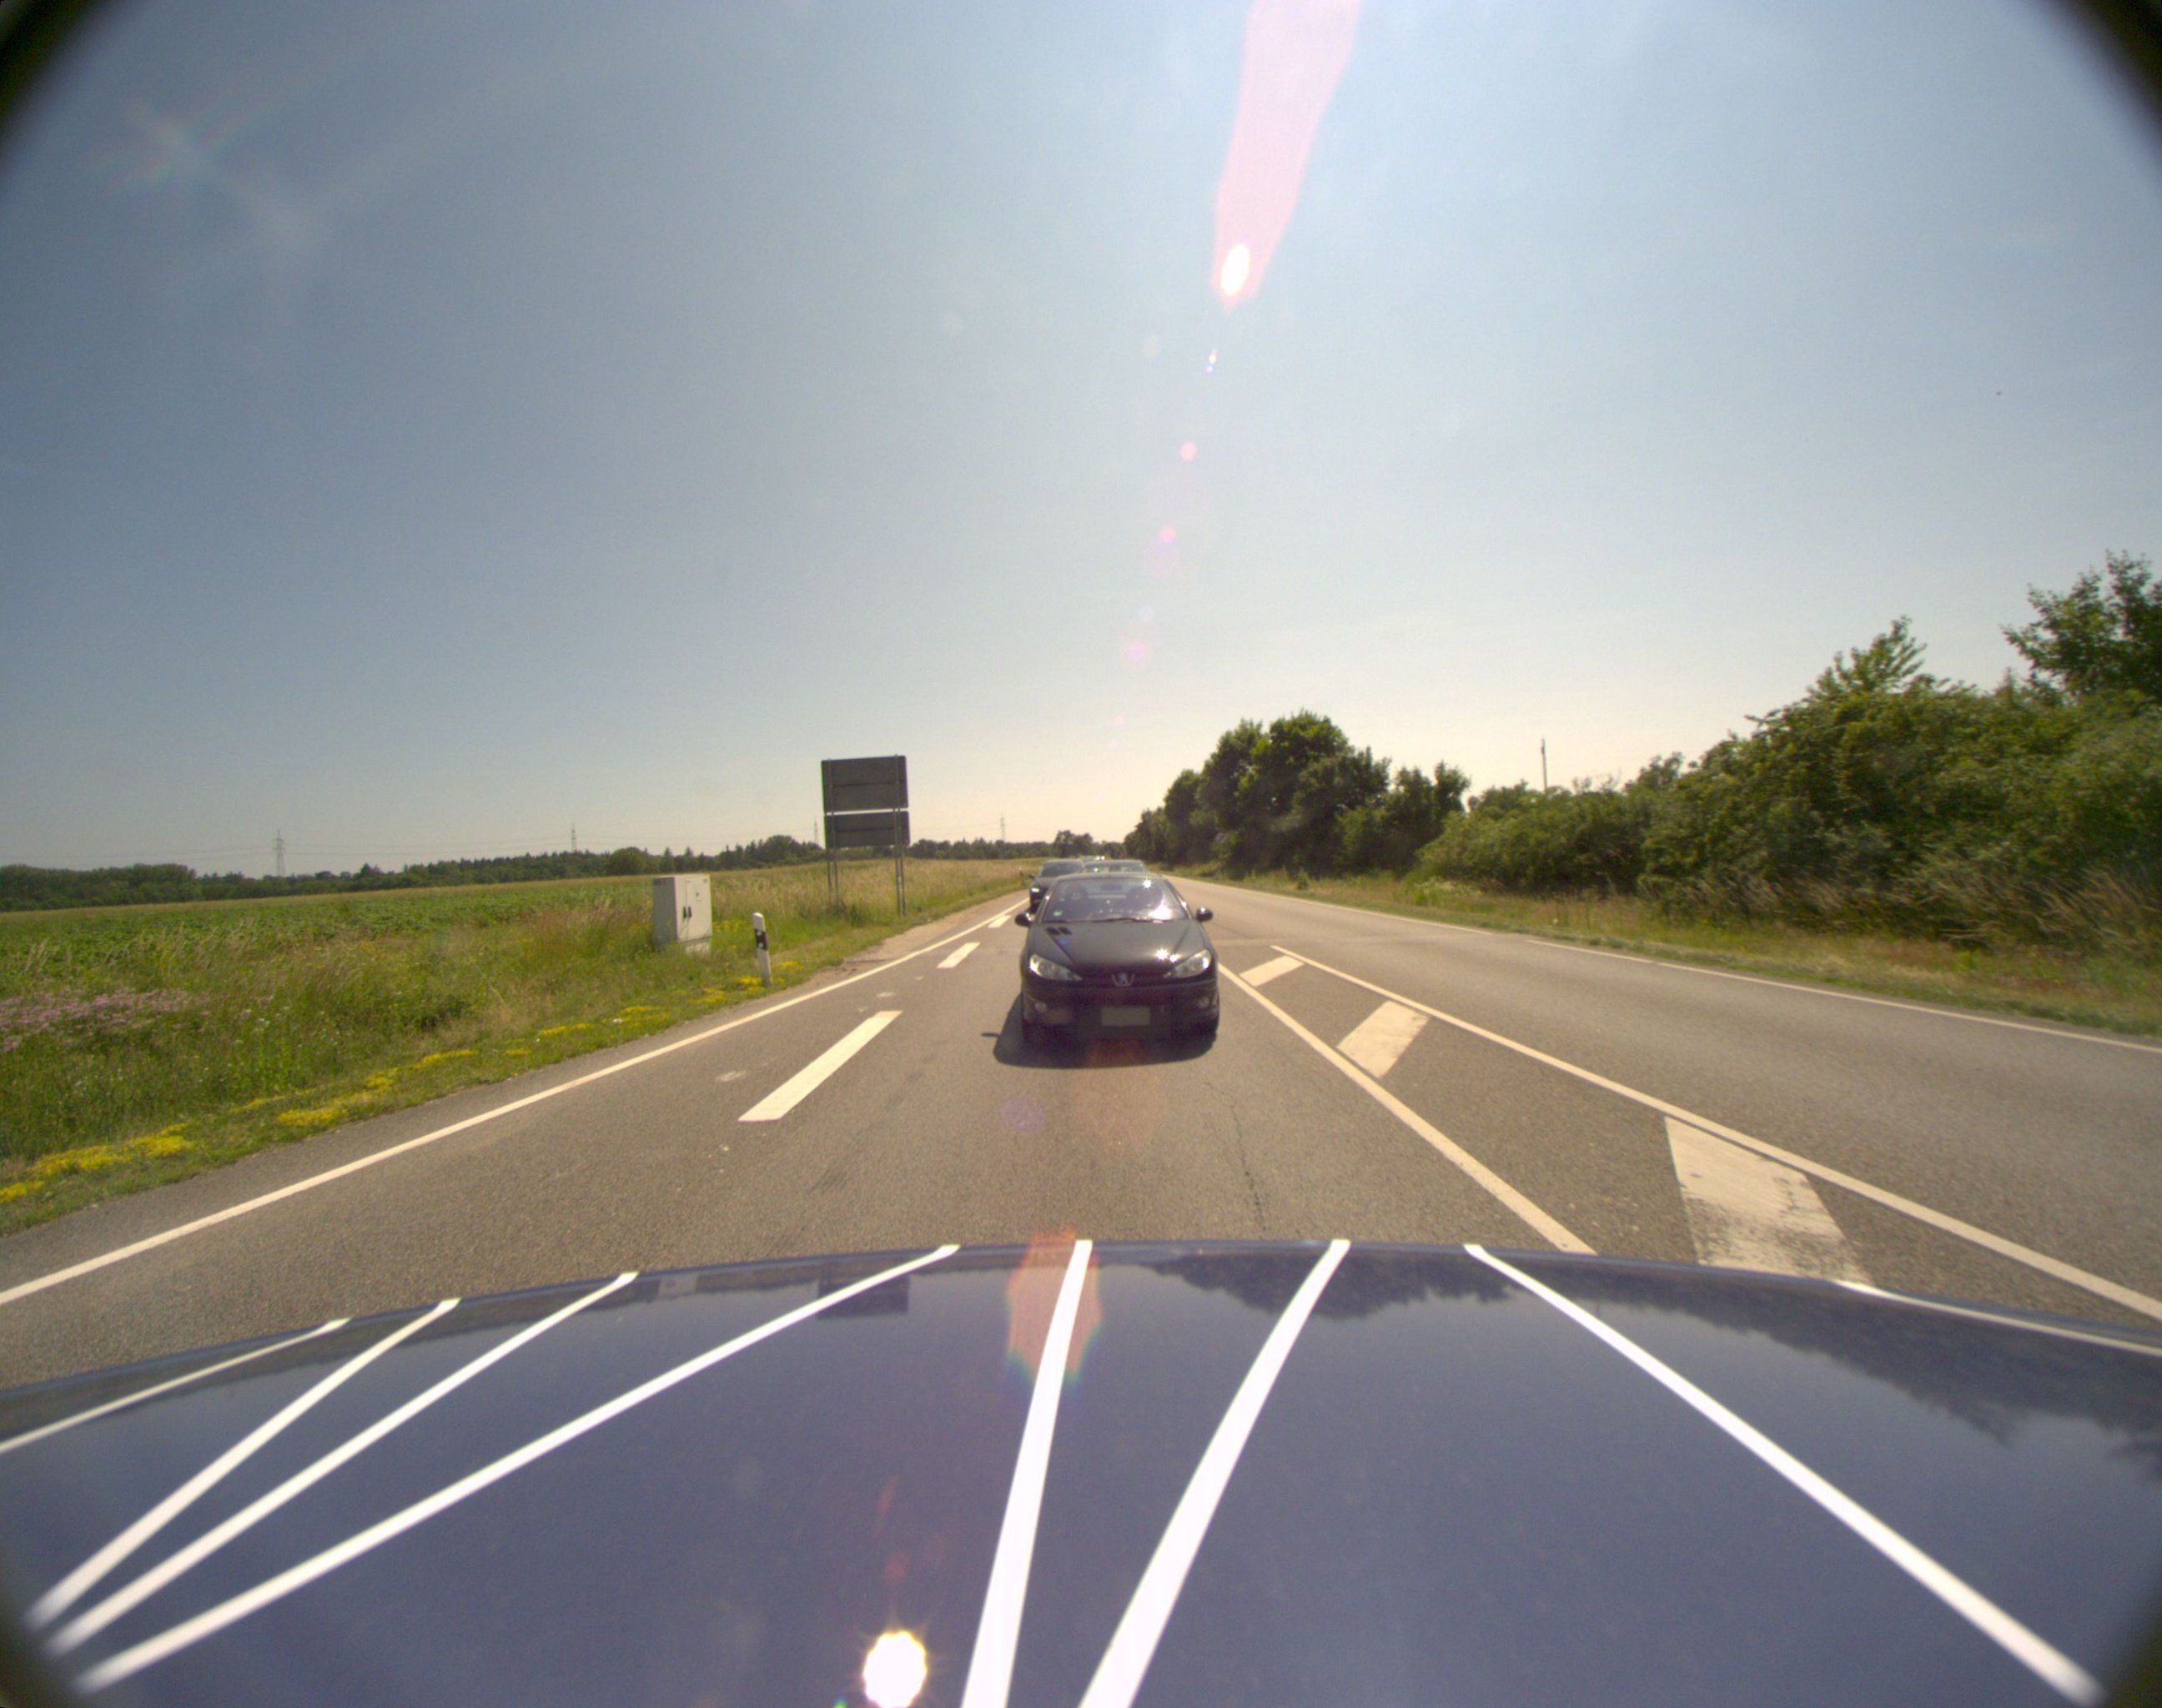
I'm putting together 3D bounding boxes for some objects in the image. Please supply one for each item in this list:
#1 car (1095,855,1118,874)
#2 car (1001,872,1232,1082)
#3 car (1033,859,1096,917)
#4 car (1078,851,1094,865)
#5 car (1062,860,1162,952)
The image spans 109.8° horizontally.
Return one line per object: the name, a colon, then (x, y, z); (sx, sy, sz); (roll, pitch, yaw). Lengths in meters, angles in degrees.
car: (1.832, 0.728, 56.101); (1.588, 1.294, 3.631); (-2, 0, 1)
car: (0.287, 0.957, 7.475); (1.665, 1.389, 3.731); (-2, 0, 1)
car: (-0.423, 0.937, 22.751); (1.665, 1.449, 4.173); (-2, 0, 1)
car: (0.576, 0.413, 79.482); (1.588, 1.294, 3.631); (-2, 0, 1)
car: (0.595, 0.918, 14.965); (1.665, 1.477, 3.732); (-2, 0, 2)
